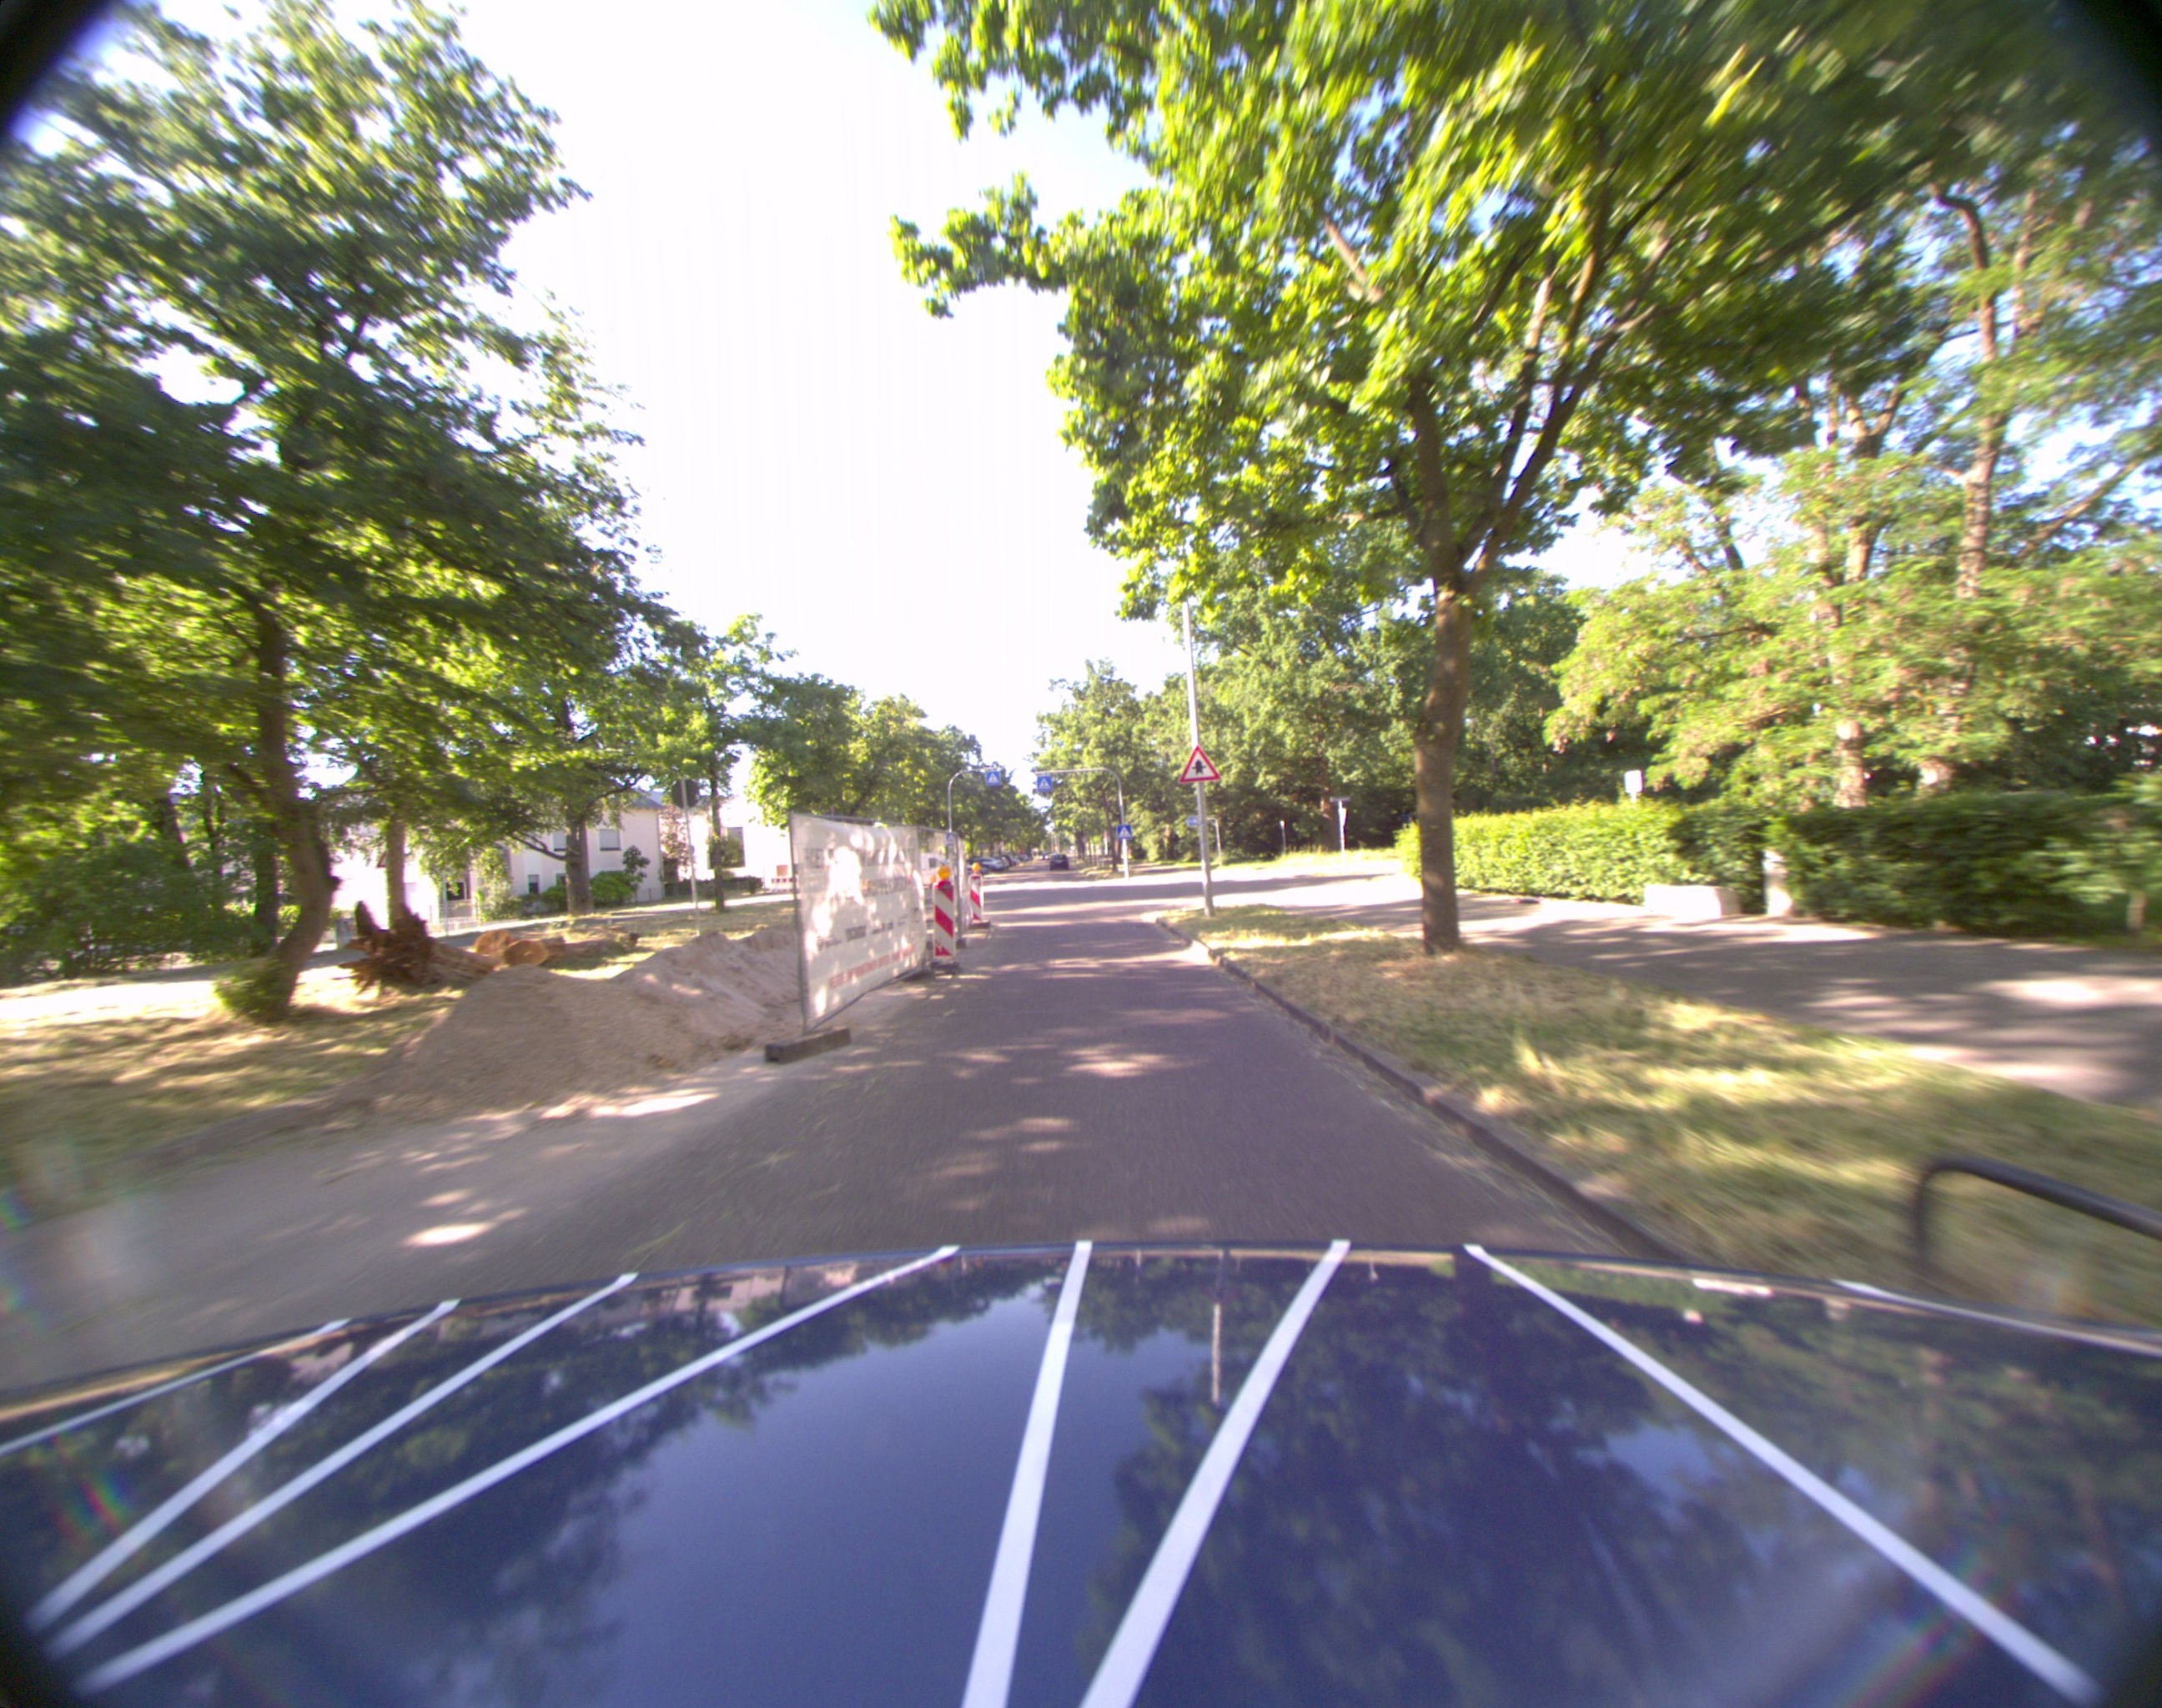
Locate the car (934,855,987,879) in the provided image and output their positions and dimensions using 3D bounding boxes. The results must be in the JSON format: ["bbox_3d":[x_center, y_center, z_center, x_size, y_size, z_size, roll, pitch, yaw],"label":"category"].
[{"bbox_3d":[-10.009,1.045,63.169,4.020,1.650,1.532,-4,1,0],"label":"car"}]

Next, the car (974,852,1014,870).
[{"bbox_3d":[-10.255,0.795,89.561,4.395,1.733,1.532,-4,1,0],"label":"car"}]

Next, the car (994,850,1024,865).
[{"bbox_3d":[-10.614,0.500,112.213,3.997,1.838,1.863,-4,1,-1],"label":"car"}]

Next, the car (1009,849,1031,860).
[{"bbox_3d":[-11.984,0.010,149.472,4.152,1.838,1.949,-4,1,-1],"label":"car"}]

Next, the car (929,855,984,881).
[{"bbox_3d":[-9.830,1.094,60.163,4.020,1.669,1.532,-4,1,0],"label":"car"}]

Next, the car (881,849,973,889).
[{"bbox_3d":[-9.147,0.863,45.384,5.046,2.069,1.890,-3,1,-2],"label":"car"}]

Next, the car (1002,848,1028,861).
[{"bbox_3d":[-11.566,0.109,133.141,4.152,1.838,1.949,-4,1,-1],"label":"car"}]

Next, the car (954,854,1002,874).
[{"bbox_3d":[-10.205,0.986,75.262,4.395,1.632,1.532,-4,1,0],"label":"car"}]

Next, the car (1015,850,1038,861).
[{"bbox_3d":[-10.399,0.272,144.461,4.152,1.838,1.949,-4,1,-1],"label":"car"}]

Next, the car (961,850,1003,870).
[{"bbox_3d":[-11.163,0.672,85.686,4.395,1.977,1.532,-4,1,0],"label":"car"}]

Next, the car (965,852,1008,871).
[{"bbox_3d":[-10.229,0.775,82.302,4.395,1.733,1.532,-4,1,0],"label":"car"}]

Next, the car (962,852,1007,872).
[{"bbox_3d":[-9.926,0.798,78.299,4.395,1.733,1.532,-4,1,0],"label":"car"}]
